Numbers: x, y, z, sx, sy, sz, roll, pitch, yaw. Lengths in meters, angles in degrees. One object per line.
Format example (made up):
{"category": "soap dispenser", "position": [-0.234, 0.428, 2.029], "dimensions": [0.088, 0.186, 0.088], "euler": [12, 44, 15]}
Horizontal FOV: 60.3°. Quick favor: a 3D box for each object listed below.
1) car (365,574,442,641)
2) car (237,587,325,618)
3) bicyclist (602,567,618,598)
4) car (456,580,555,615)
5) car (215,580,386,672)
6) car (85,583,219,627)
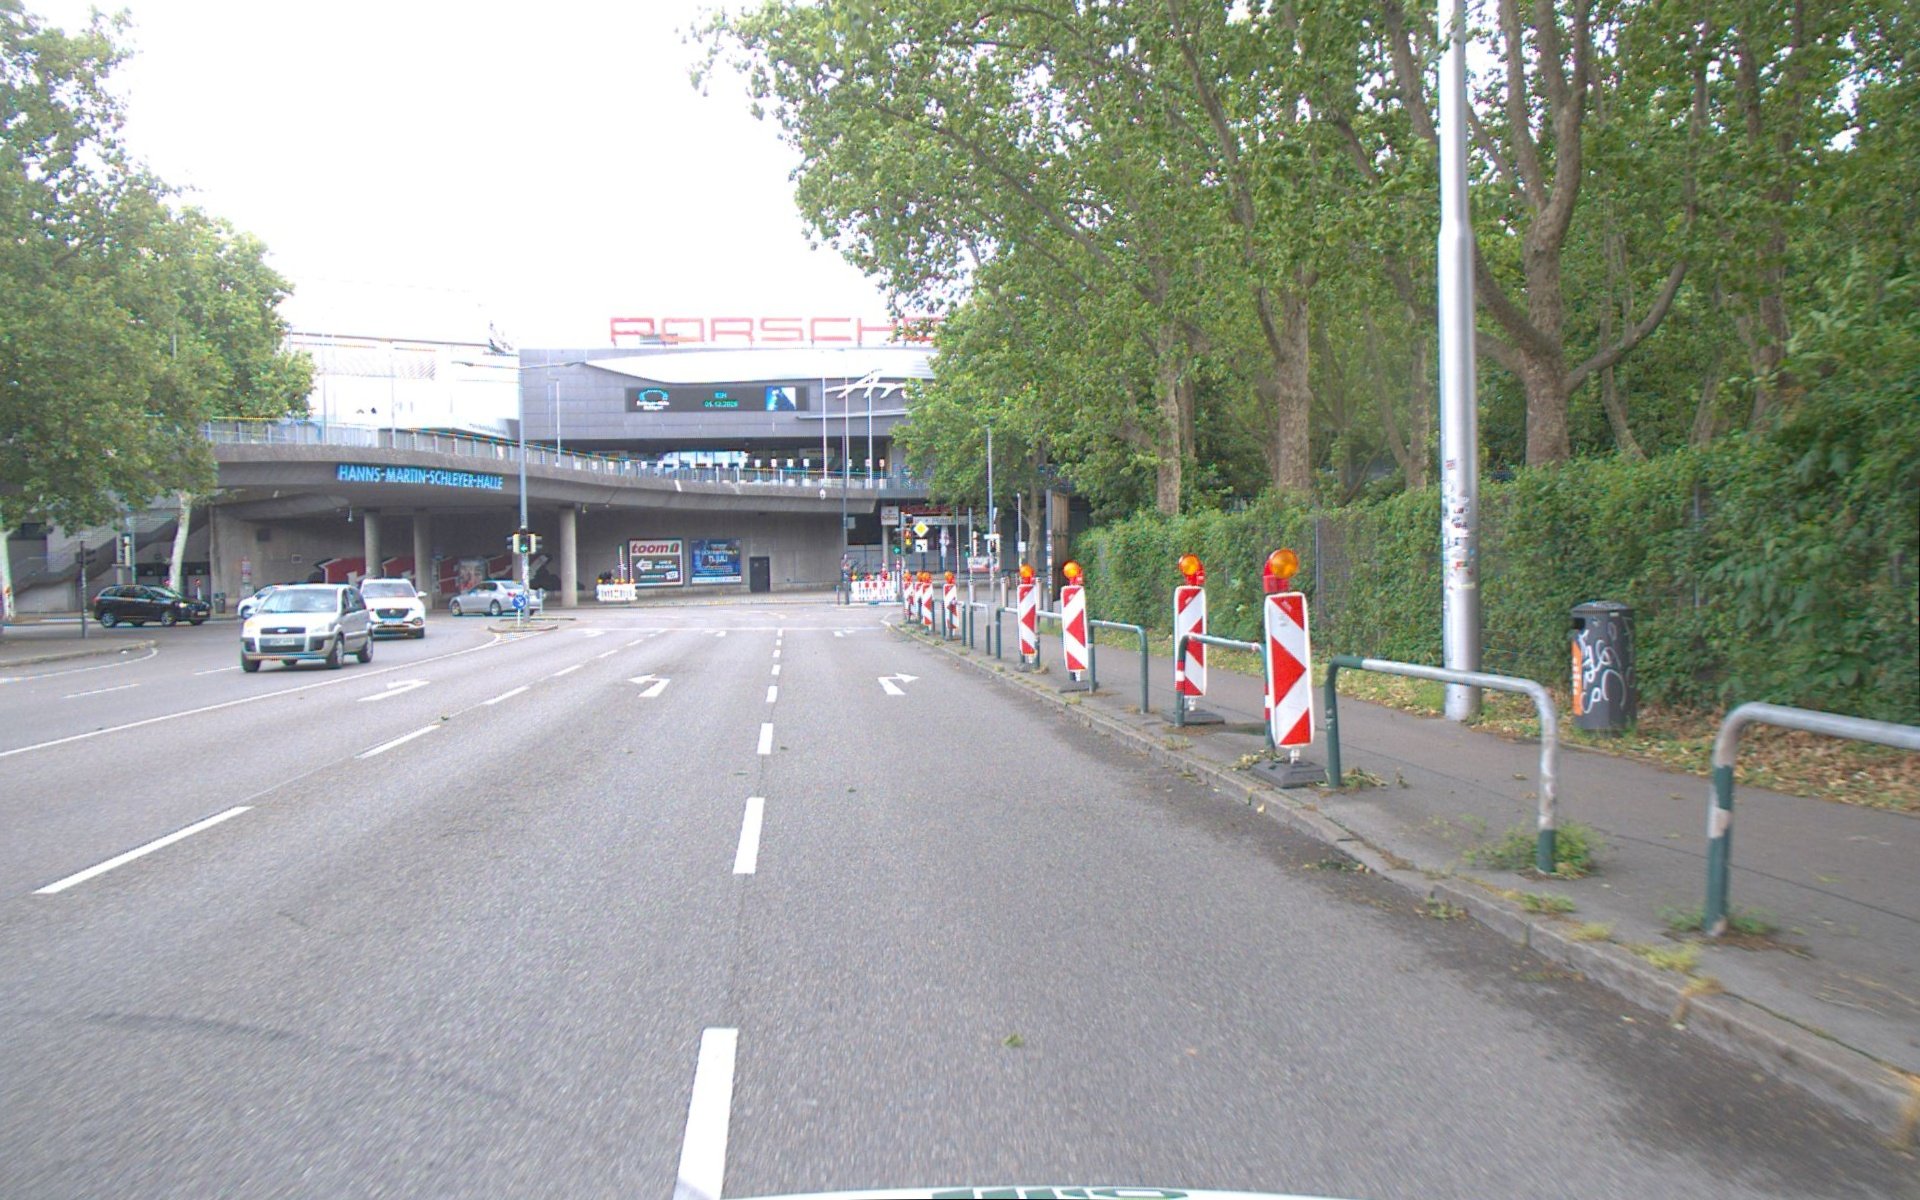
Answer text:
{"category": "car", "position": [-15.794, 0.172, 46.991], "dimensions": [1.963, 1.775, 4.571], "euler": [-1, 1, -18]}
{"category": "car", "position": [-30.412, 0.102, 74.123], "dimensions": [3.312, 1.336, 1.617], "euler": [0, 1, 10]}
{"category": "bicyclist", "position": [-19.492, -0.956, 92.201], "dimensions": [0.836, 1.727, 0.765], "euler": [0, 0, -10]}
{"category": "car", "position": [-19.026, -0.114, 69.191], "dimensions": [3.921, 1.443, 1.992], "euler": [0, 1, 37]}
{"category": "car", "position": [-12.275, 0.435, 31.079], "dimensions": [1.956, 1.551, 3.994], "euler": [-2, 1, -7]}
{"category": "car", "position": [-31.054, 0.194, 63.596], "dimensions": [4.320, 1.634, 1.776], "euler": [0, 1, 5]}
